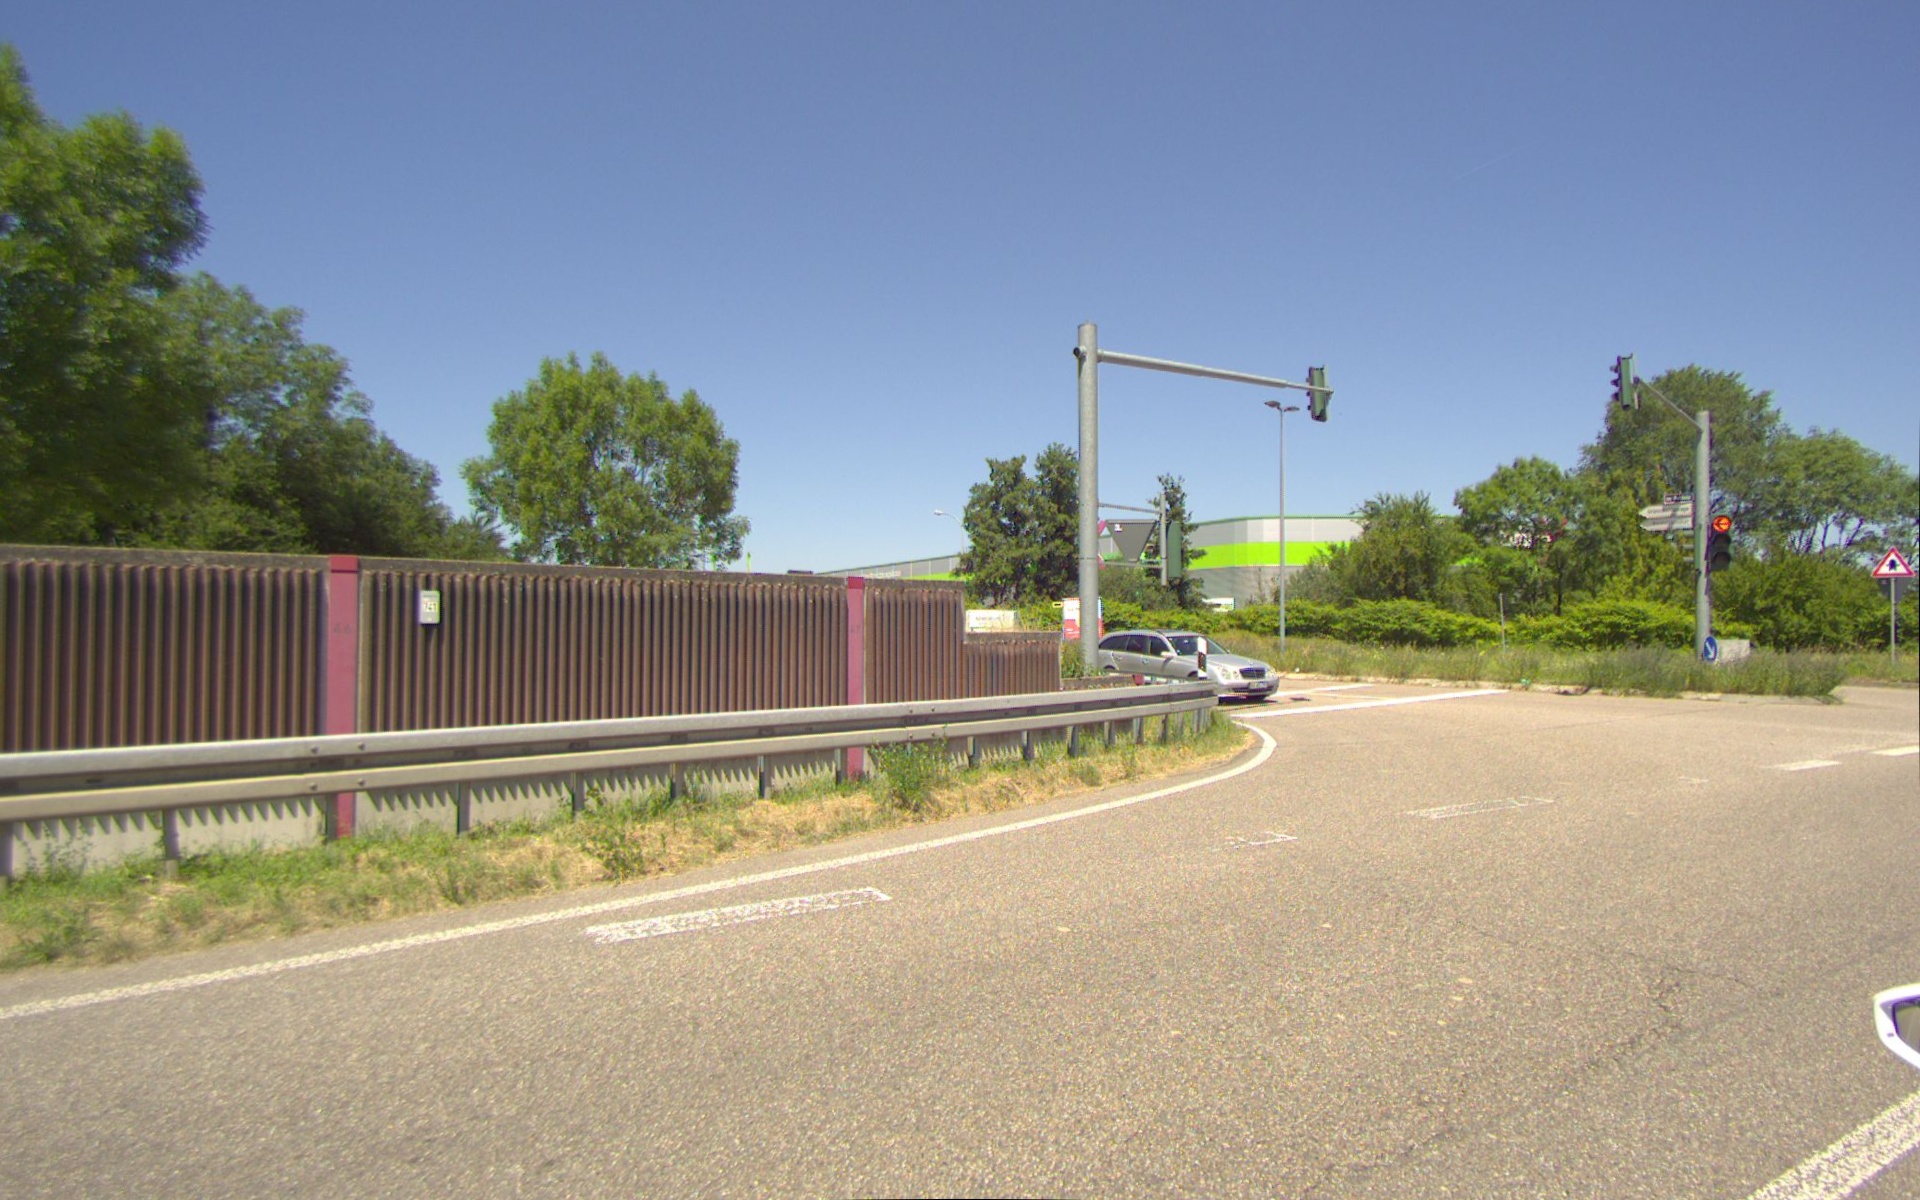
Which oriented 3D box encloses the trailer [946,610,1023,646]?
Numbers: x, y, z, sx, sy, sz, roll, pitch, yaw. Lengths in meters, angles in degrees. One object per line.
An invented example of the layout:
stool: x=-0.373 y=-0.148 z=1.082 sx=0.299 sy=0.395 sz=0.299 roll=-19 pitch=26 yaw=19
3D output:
trailer: x=1.298 y=1.473 z=52.682 sx=3.683 sy=1.815 sz=1.827 roll=0 pitch=-1 yaw=15

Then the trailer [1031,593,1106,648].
trailer: x=5.754 y=1.064 z=53.023 sx=3.682 sy=2.801 sz=1.828 roll=0 pitch=-1 yaw=14

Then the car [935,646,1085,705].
car: x=1.377 y=2.082 z=28.346 sx=3.899 sy=1.417 sz=1.765 roll=0 pitch=-1 yaw=36

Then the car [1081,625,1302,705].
car: x=4.802 y=1.305 z=21.639 sx=1.855 sy=1.476 sz=4.933 roll=1 pitch=-1 yaw=-29
